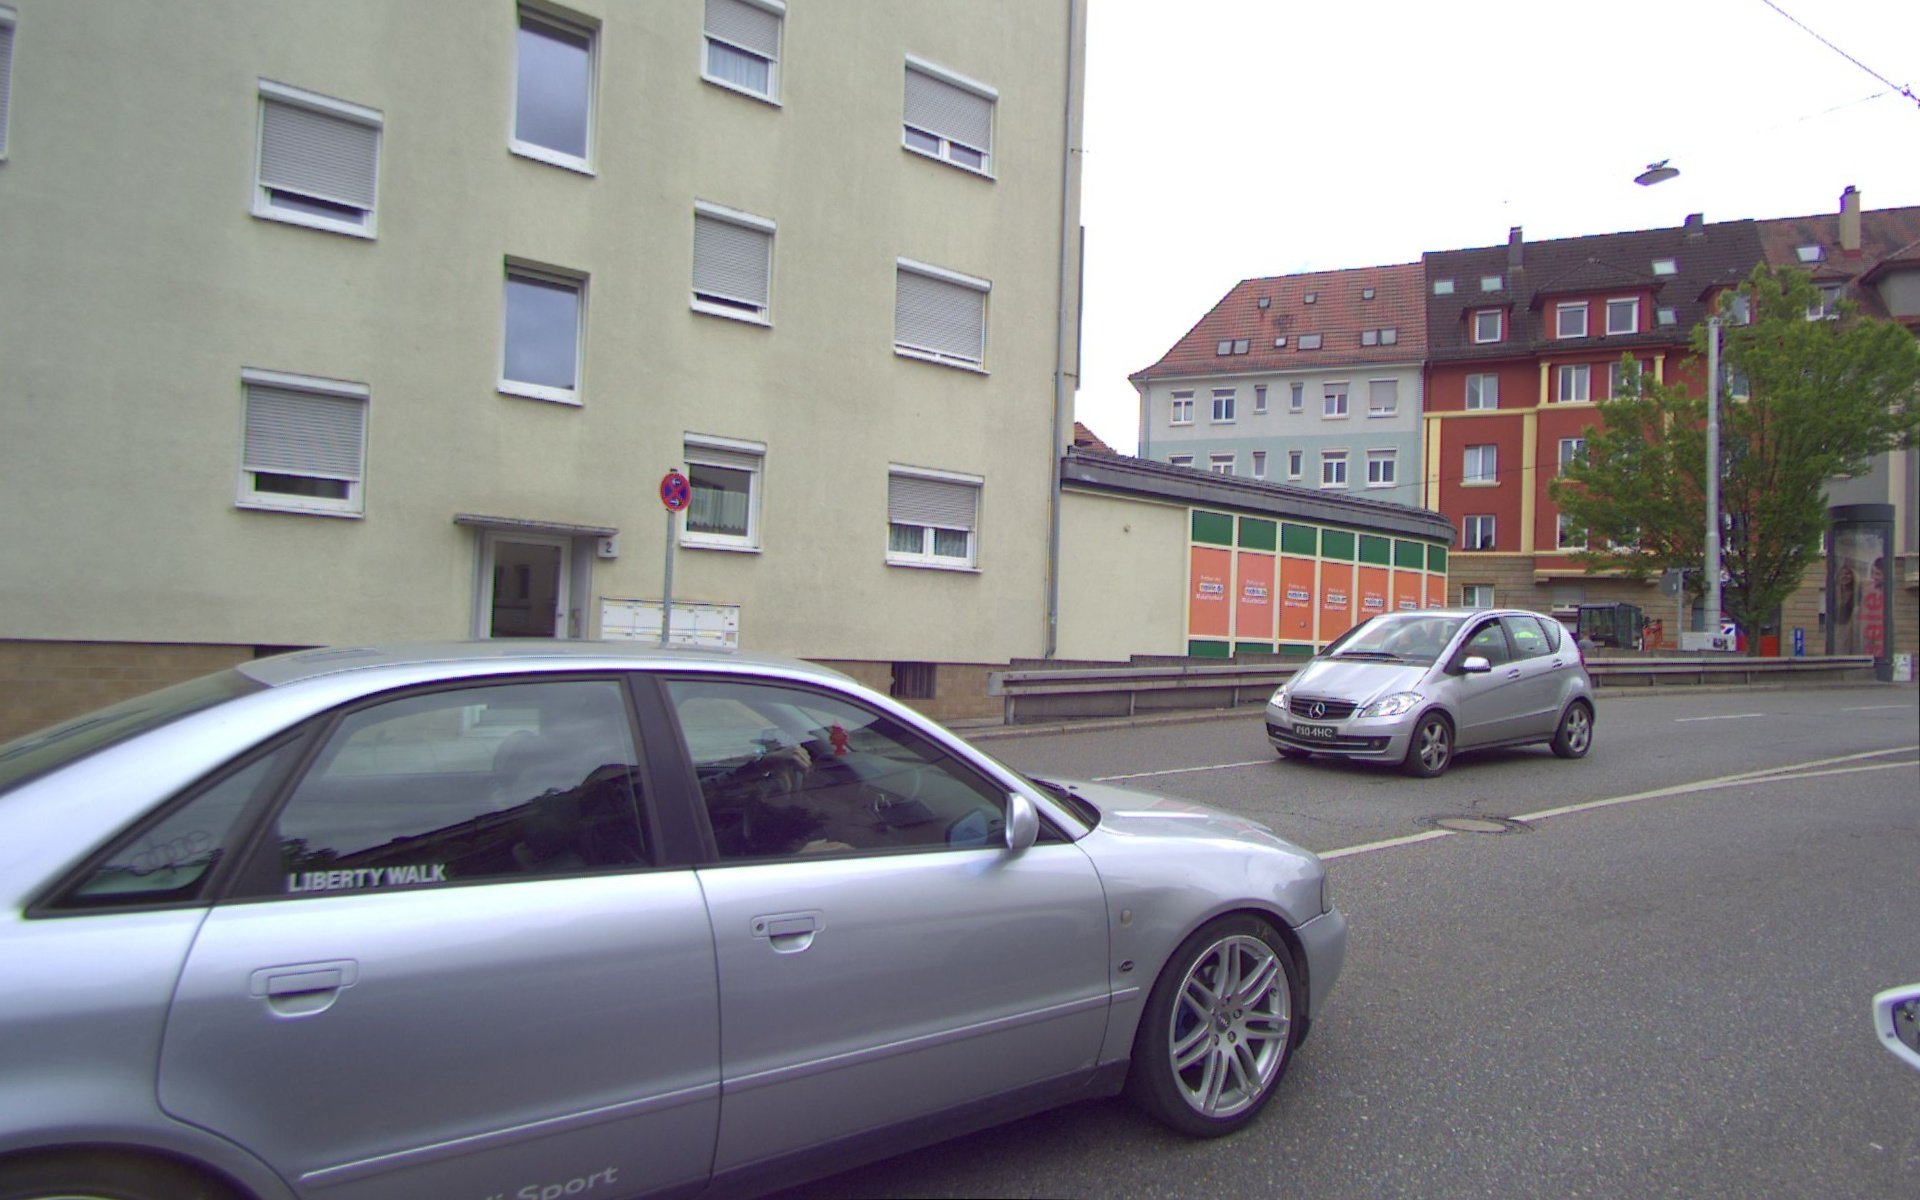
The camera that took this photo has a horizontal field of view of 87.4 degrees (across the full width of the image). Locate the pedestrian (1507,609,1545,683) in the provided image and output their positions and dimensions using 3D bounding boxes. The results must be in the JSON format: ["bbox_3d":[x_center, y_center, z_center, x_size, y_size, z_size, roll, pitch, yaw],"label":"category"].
[{"bbox_3d":[14.026,1.123,24.888,0.613,1.785,0.566,1,1,-40],"label":"pedestrian"}]

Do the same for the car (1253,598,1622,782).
[{"bbox_3d":[5.171,0.860,10.762,3.955,1.639,1.700,2,-1,-32],"label":"car"}]

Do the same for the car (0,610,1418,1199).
[{"bbox_3d":[-0.765,0.734,2.764,4.130,1.391,1.687,0,0,-32],"label":"car"}]

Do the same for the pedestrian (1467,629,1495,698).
[{"bbox_3d":[13.503,1.634,26.045,0.467,1.753,0.543,2,1,14],"label":"pedestrian"}]

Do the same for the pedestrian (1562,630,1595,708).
[{"bbox_3d":[14.368,1.589,23.353,0.533,1.753,0.593,3,1,26],"label":"pedestrian"}]

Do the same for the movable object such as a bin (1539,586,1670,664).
[{"bbox_3d":[16.573,0.614,25.765,3.972,1.795,1.884,2,1,-43],"label":"movable object such as a bin"}]

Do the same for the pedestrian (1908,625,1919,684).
[{"bbox_3d":[26.070,1.486,27.073,0.480,1.588,0.586,2,1,-30],"label":"pedestrian"}]
